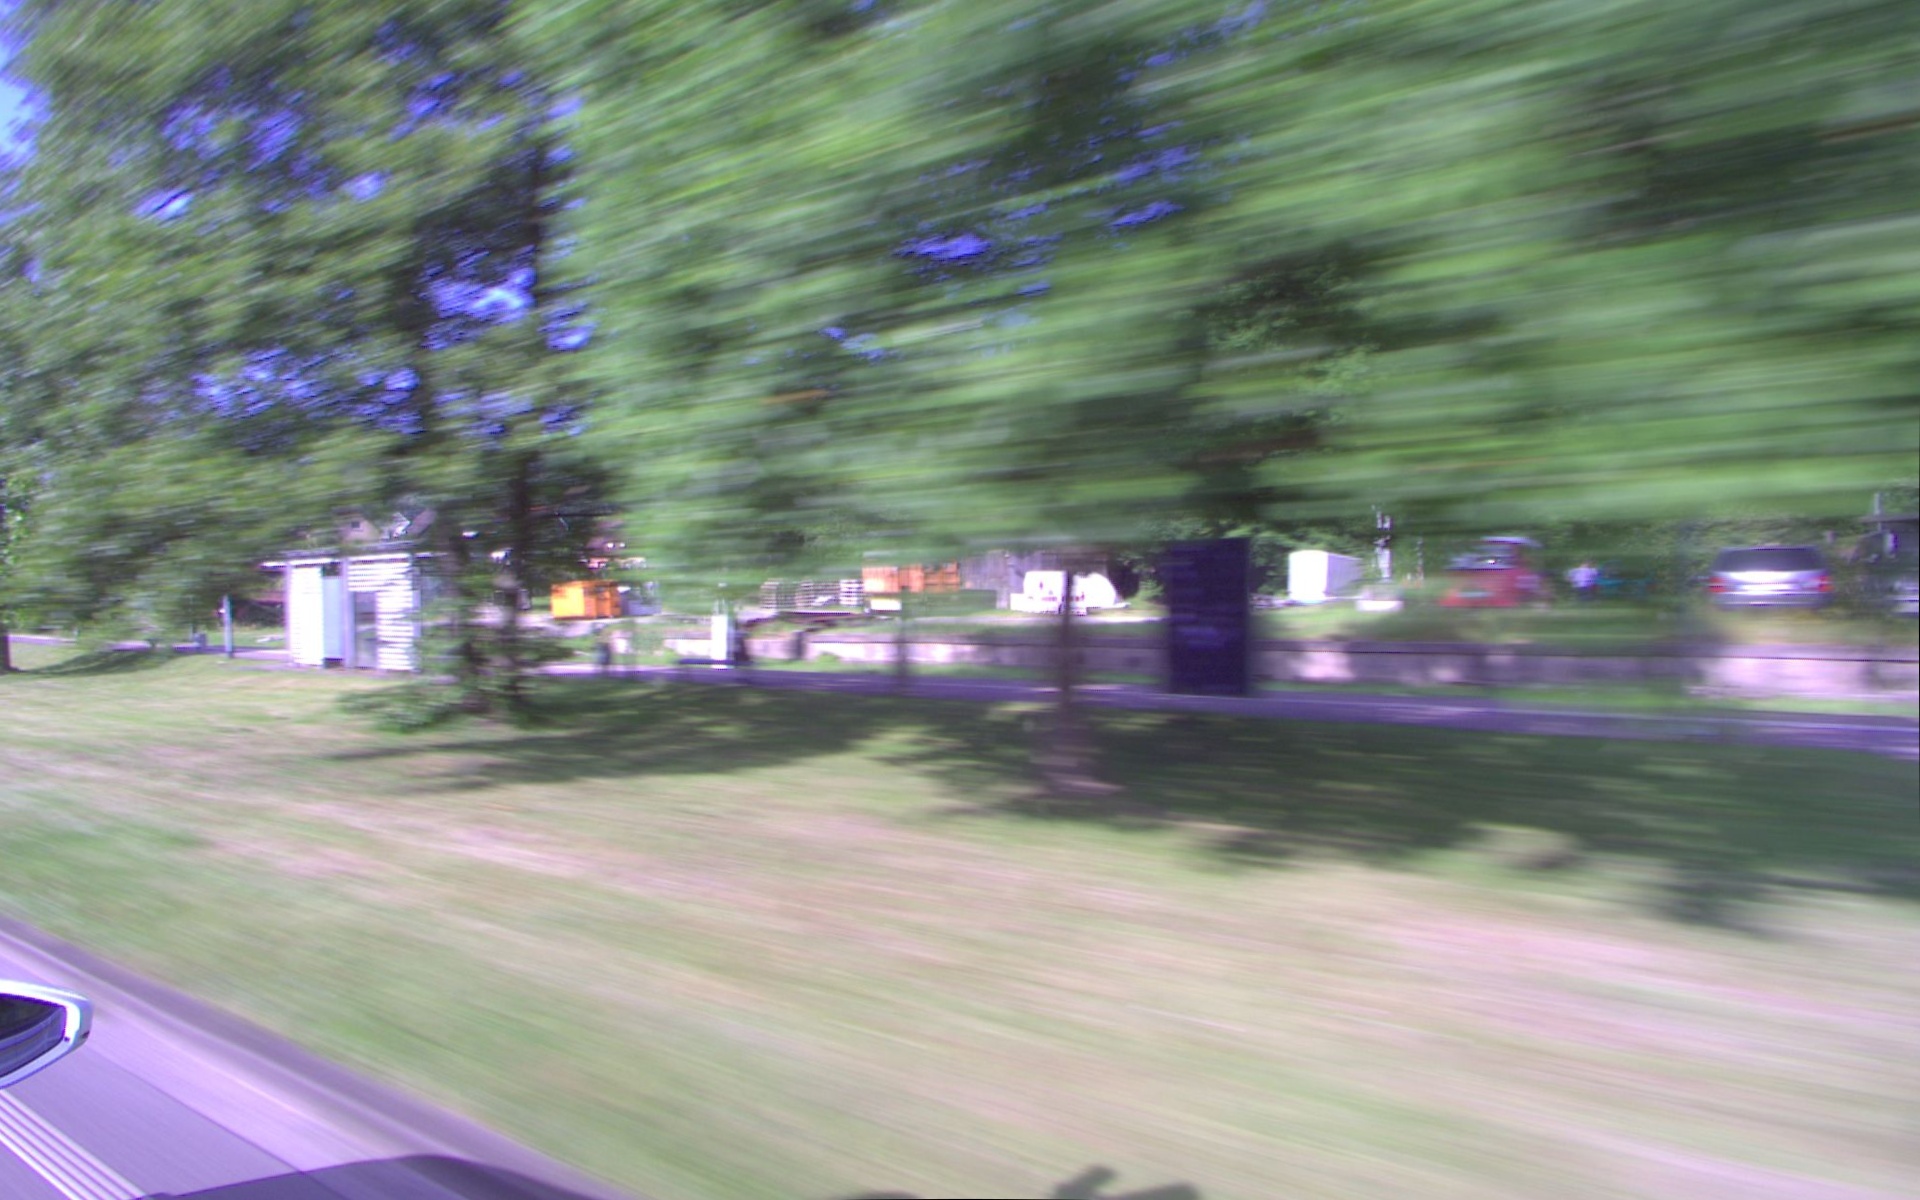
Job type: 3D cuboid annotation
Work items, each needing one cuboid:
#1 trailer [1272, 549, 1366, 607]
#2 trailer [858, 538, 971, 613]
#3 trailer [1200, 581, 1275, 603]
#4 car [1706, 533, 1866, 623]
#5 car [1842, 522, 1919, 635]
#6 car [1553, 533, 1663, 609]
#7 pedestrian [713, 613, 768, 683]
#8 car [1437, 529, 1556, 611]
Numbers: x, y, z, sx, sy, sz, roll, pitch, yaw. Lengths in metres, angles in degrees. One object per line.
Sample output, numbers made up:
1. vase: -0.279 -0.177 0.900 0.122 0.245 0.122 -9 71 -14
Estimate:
1. trailer: 14.304 -0.848 39.853 3.657 2.219 1.805 -1 1 -36
2. trailer: -2.715 -1.310 56.567 2.581 3.946 7.679 -2 1 -35
3. trailer: 12.342 -0.339 44.534 3.033 0.927 1.725 -1 0 -36
4. car: 16.747 -0.364 20.563 2.112 1.608 4.937 0 -1 35
5. car: 18.632 -0.359 19.127 2.112 1.969 4.937 0 0 35
6. car: 14.488 -0.552 22.300 1.870 1.487 4.937 0 -1 35
7. pedestrian: -3.863 0.823 17.584 0.718 1.177 0.631 0 2 44
8. car: 12.662 -0.601 23.481 1.910 1.713 4.937 0 -1 35
